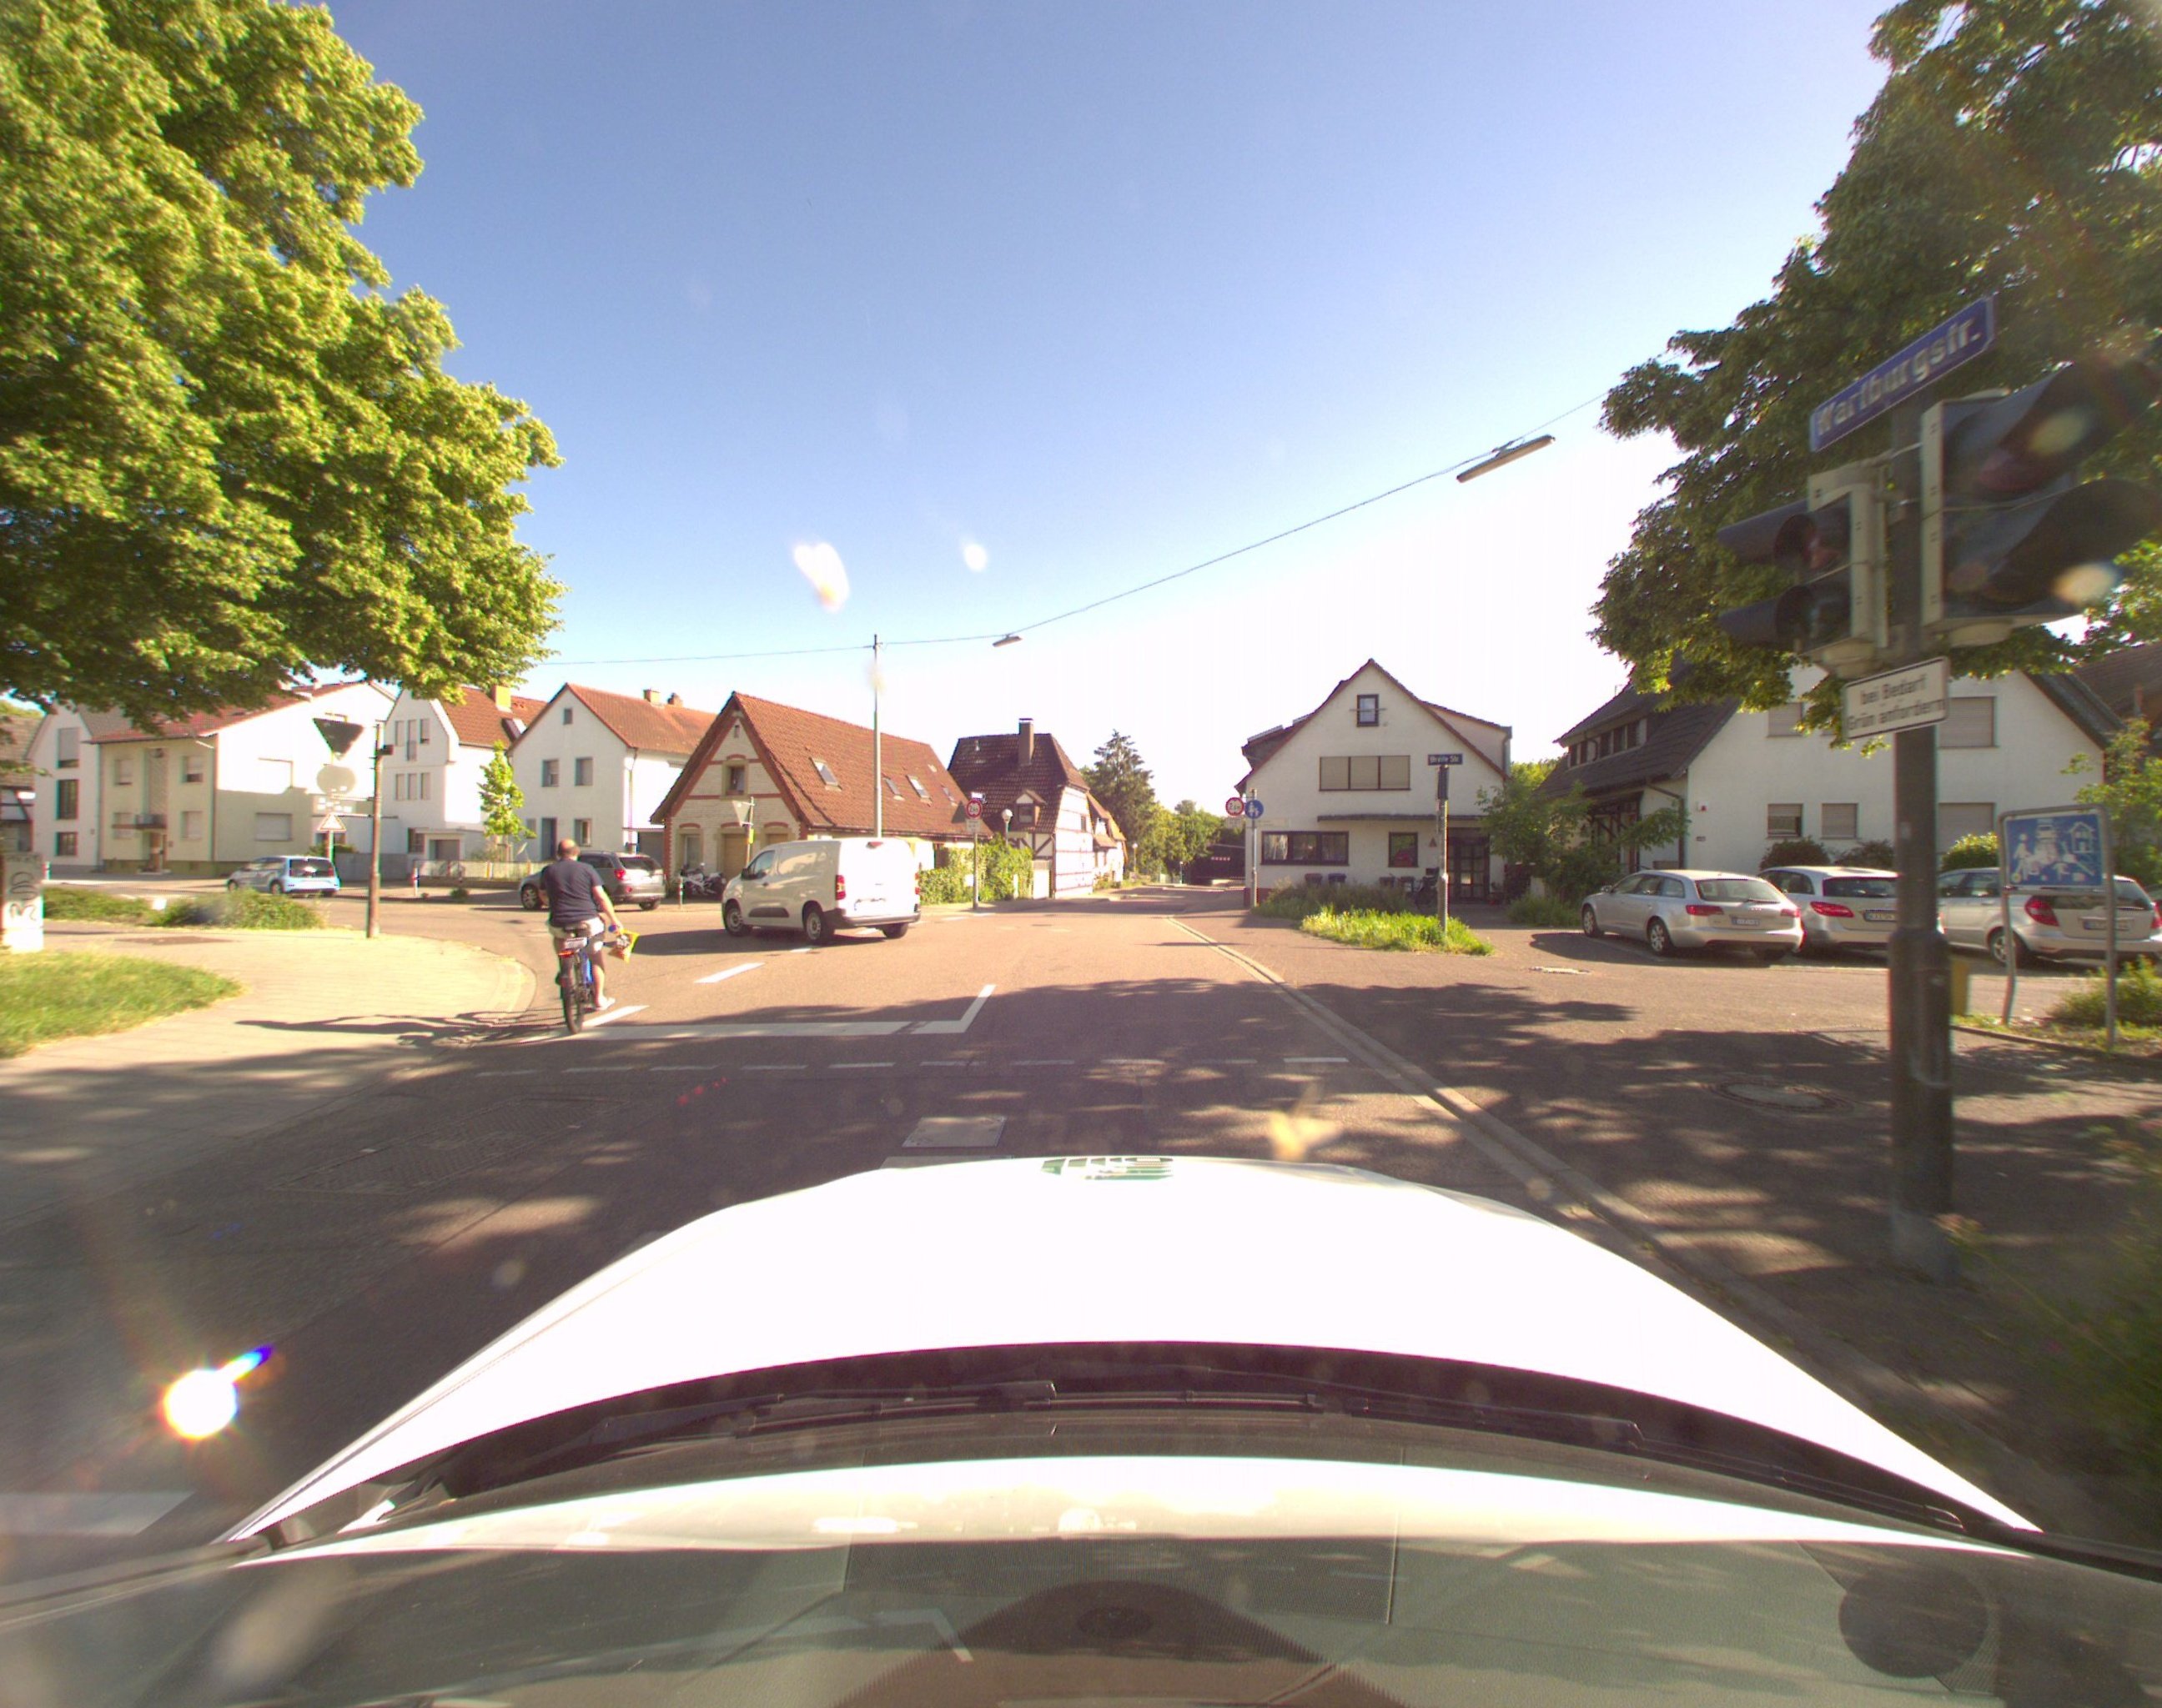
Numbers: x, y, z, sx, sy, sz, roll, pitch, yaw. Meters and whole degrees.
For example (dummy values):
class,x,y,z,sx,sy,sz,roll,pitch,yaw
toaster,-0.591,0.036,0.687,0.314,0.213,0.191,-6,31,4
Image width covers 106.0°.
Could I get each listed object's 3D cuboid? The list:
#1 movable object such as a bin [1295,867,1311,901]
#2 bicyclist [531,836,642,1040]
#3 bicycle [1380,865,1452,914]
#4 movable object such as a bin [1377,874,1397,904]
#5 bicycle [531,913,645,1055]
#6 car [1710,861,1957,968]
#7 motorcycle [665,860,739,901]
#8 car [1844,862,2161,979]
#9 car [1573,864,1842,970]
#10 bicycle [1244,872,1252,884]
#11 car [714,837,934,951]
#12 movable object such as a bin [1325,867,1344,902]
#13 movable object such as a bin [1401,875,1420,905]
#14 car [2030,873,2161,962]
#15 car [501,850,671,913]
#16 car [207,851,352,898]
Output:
class,x,y,z,sx,sy,sz,roll,pitch,yaw
movable object such as a bin,7.529,1.018,27.622,0.477,1.123,0.750,0,0,11
bicyclist,-4.715,0.747,7.807,0.769,1.788,0.845,-4,2,-31
bicycle,9.228,0.983,22.514,1.727,1.284,0.702,1,-4,9
movable object such as a bin,10.198,1.156,27.152,0.526,0.983,0.671,0,0,11
bicycle,-4.730,1.157,7.880,0.780,0.940,2.269,-4,2,-30
car,13.627,0.971,15.137,1.694,1.517,4.425,1,2,19
motorcycle,-12.712,0.881,27.316,2.223,1.295,0.887,0,2,20
car,16.049,1.018,14.449,1.696,1.551,4.421,2,2,14
car,11.104,0.996,14.985,1.981,1.421,4.818,1,1,11
bicycle,16.055,2.309,78.444,0.684,1.157,1.544,-4,-2,11
car,-4.967,0.632,15.407,4.502,1.848,1.975,0,1,43
movable object such as a bin,8.527,1.019,27.375,0.523,1.123,0.750,0,0,11
movable object such as a bin,10.925,1.184,27.033,0.495,0.976,0.596,0,0,11
car,18.768,1.112,13.707,1.632,1.349,4.131,2,2,16
car,-14.502,0.779,23.892,4.186,1.725,1.954,0,-2,19
car,-28.607,0.705,29.077,4.186,1.549,1.955,0,0,18
